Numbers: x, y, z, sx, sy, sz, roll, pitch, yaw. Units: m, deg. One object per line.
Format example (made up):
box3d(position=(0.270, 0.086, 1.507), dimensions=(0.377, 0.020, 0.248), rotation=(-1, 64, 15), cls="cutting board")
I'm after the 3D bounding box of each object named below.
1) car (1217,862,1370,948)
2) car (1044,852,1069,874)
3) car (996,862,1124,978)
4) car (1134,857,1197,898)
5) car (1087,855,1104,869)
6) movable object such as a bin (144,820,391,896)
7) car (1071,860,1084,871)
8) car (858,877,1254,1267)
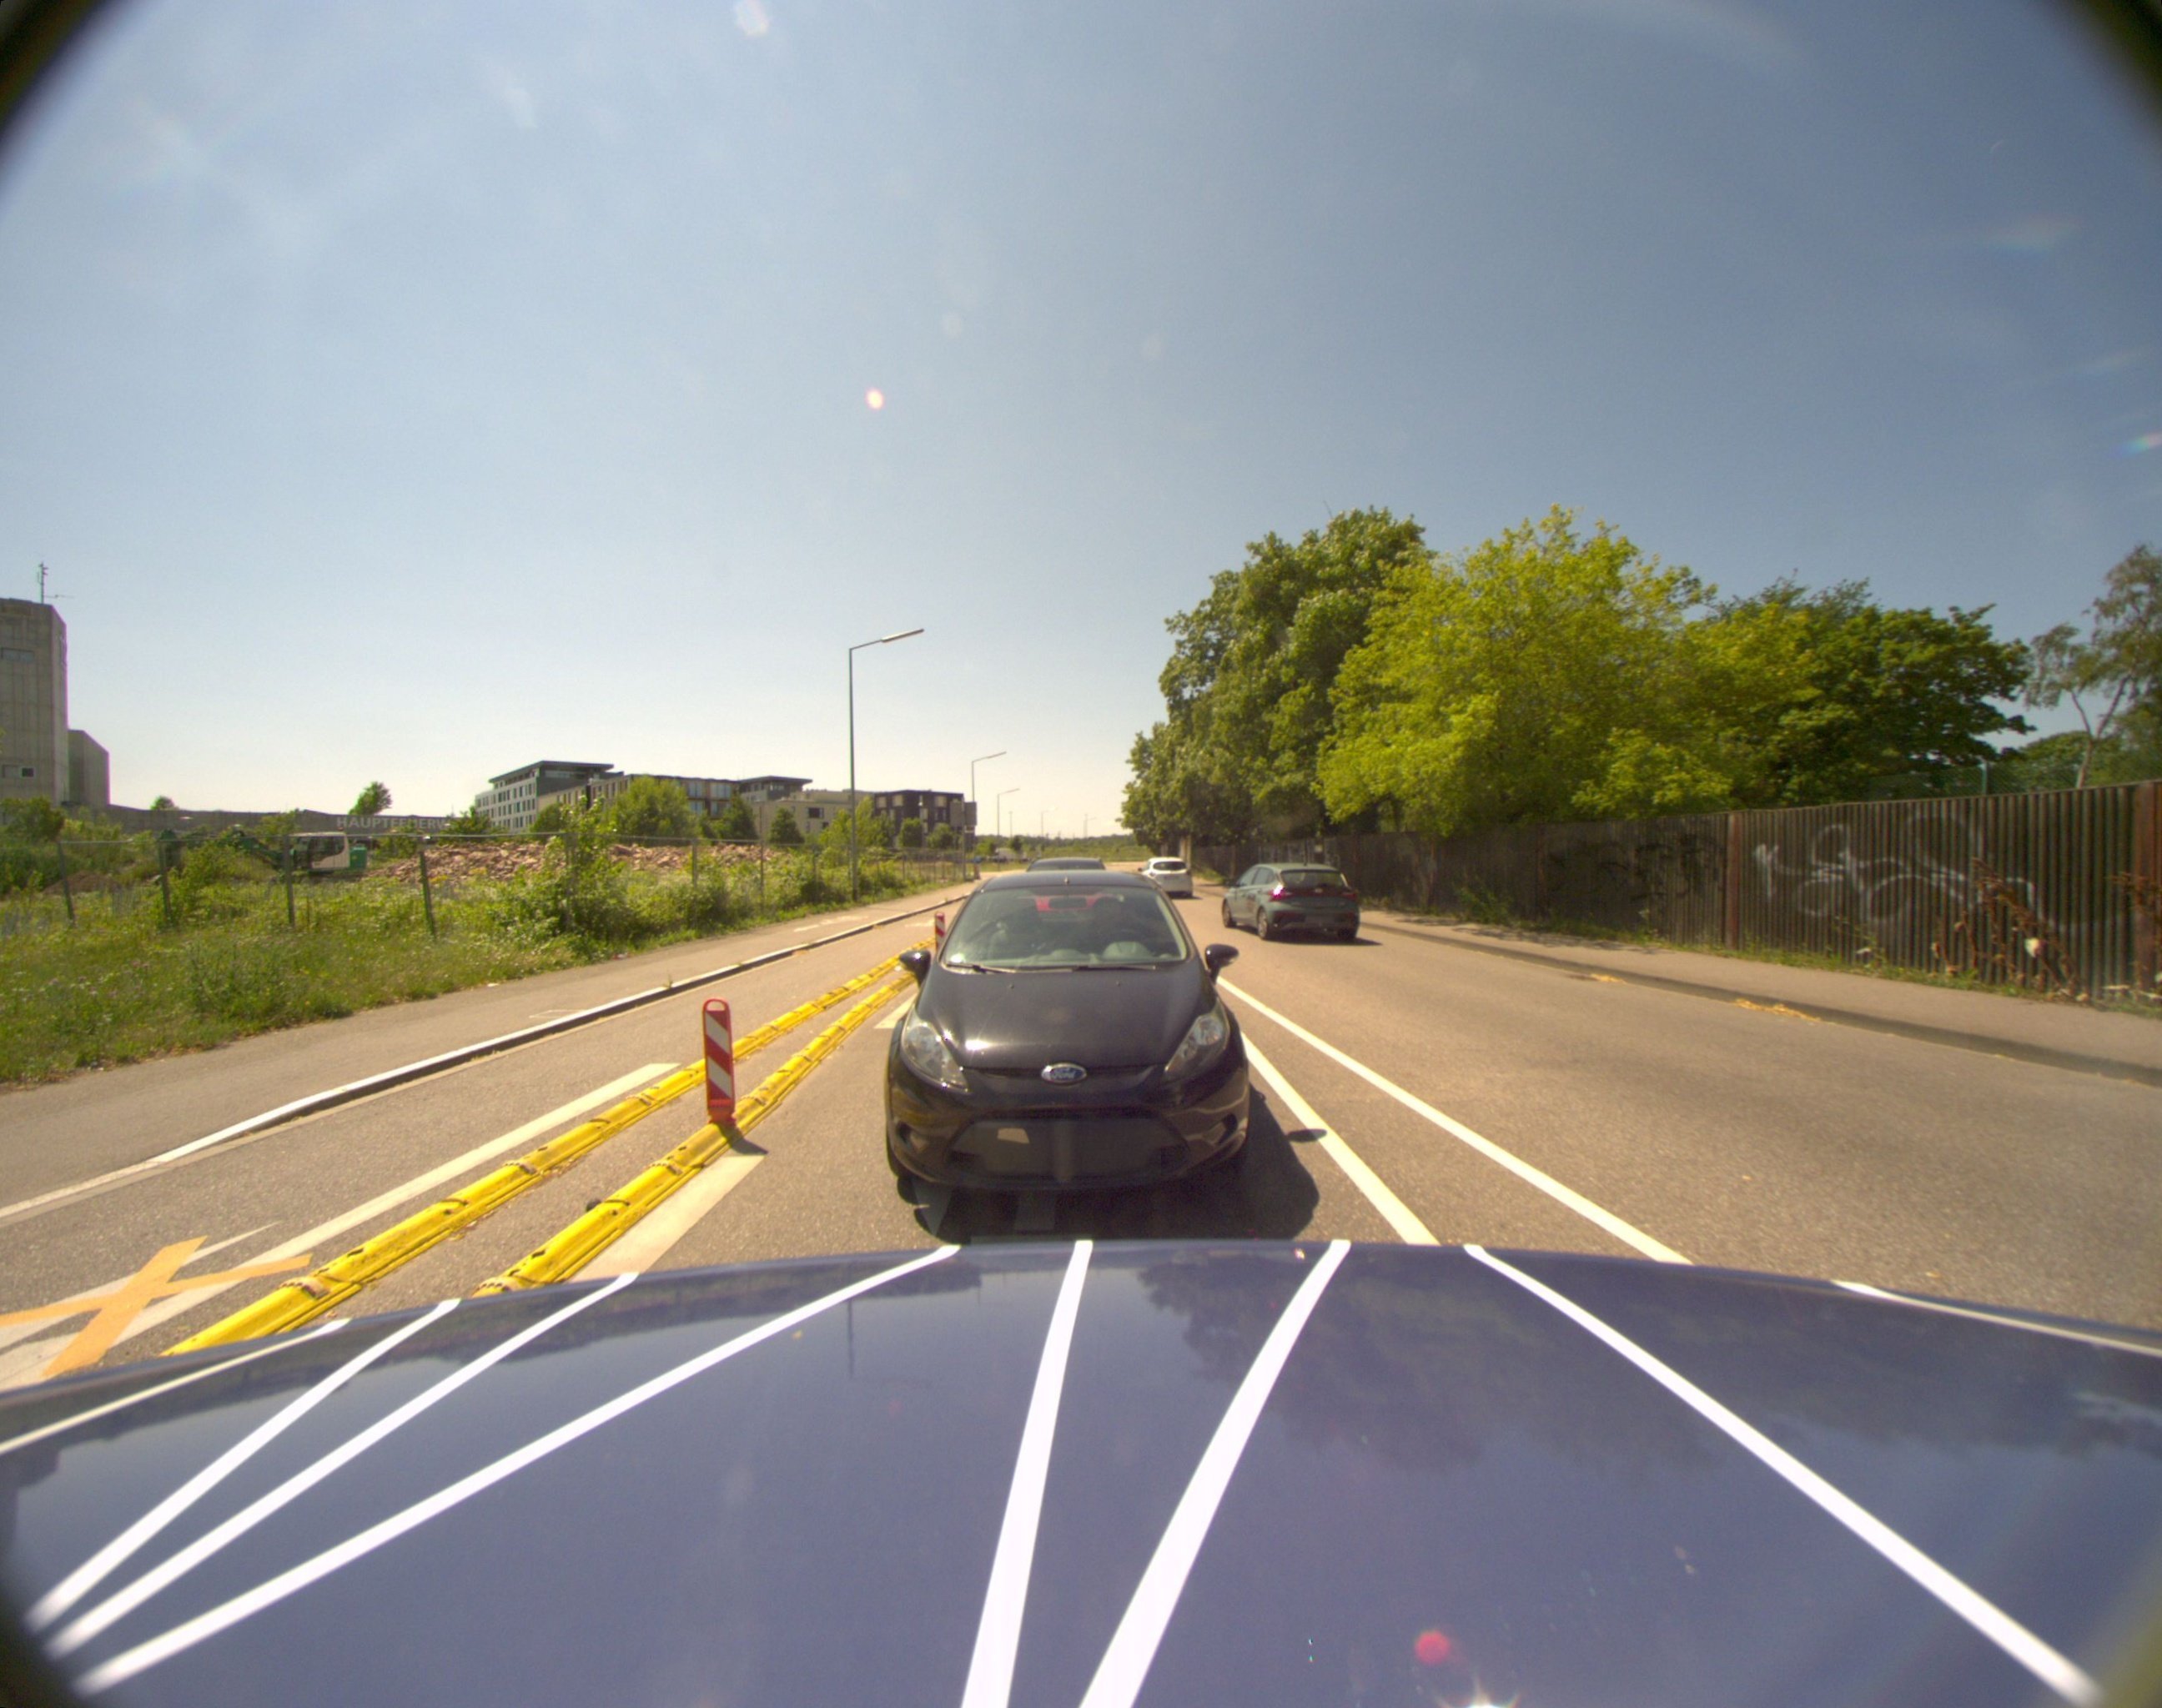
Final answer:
box3d(position=(4.094, 0.914, 15.278), dimensions=(1.759, 1.477, 3.692), rotation=(-1, 0, -5), cls="car")
box3d(position=(-1.818, 0.670, 55.828), dimensions=(1.759, 1.536, 3.693), rotation=(-1, 0, -2), cls="car")
box3d(position=(-0.252, 0.911, 12.373), dimensions=(1.720, 1.518, 4.212), rotation=(-1, 0, 1), cls="car")
box3d(position=(3.223, 0.881, 29.673), dimensions=(1.759, 1.477, 3.692), rotation=(-1, 0, -5), cls="car")
box3d(position=(1.707, 0.948, 90.640), dimensions=(1.759, 1.536, 3.693), rotation=(-1, 0, -2), cls="car")
box3d(position=(-37.989, 0.134, 36.017), dimensions=(2.810, 3.131, 7.608), rotation=(-2, 1, 8), cls="movable object such as a bin")
box3d(position=(-0.517, 1.554, 104.115), dimensions=(1.759, 1.536, 3.693), rotation=(-1, 0, -2), cls="car")
box3d(position=(-0.078, 0.972, 5.072), dimensions=(1.632, 1.499, 3.819), rotation=(-1, 0, 1), cls="car")
